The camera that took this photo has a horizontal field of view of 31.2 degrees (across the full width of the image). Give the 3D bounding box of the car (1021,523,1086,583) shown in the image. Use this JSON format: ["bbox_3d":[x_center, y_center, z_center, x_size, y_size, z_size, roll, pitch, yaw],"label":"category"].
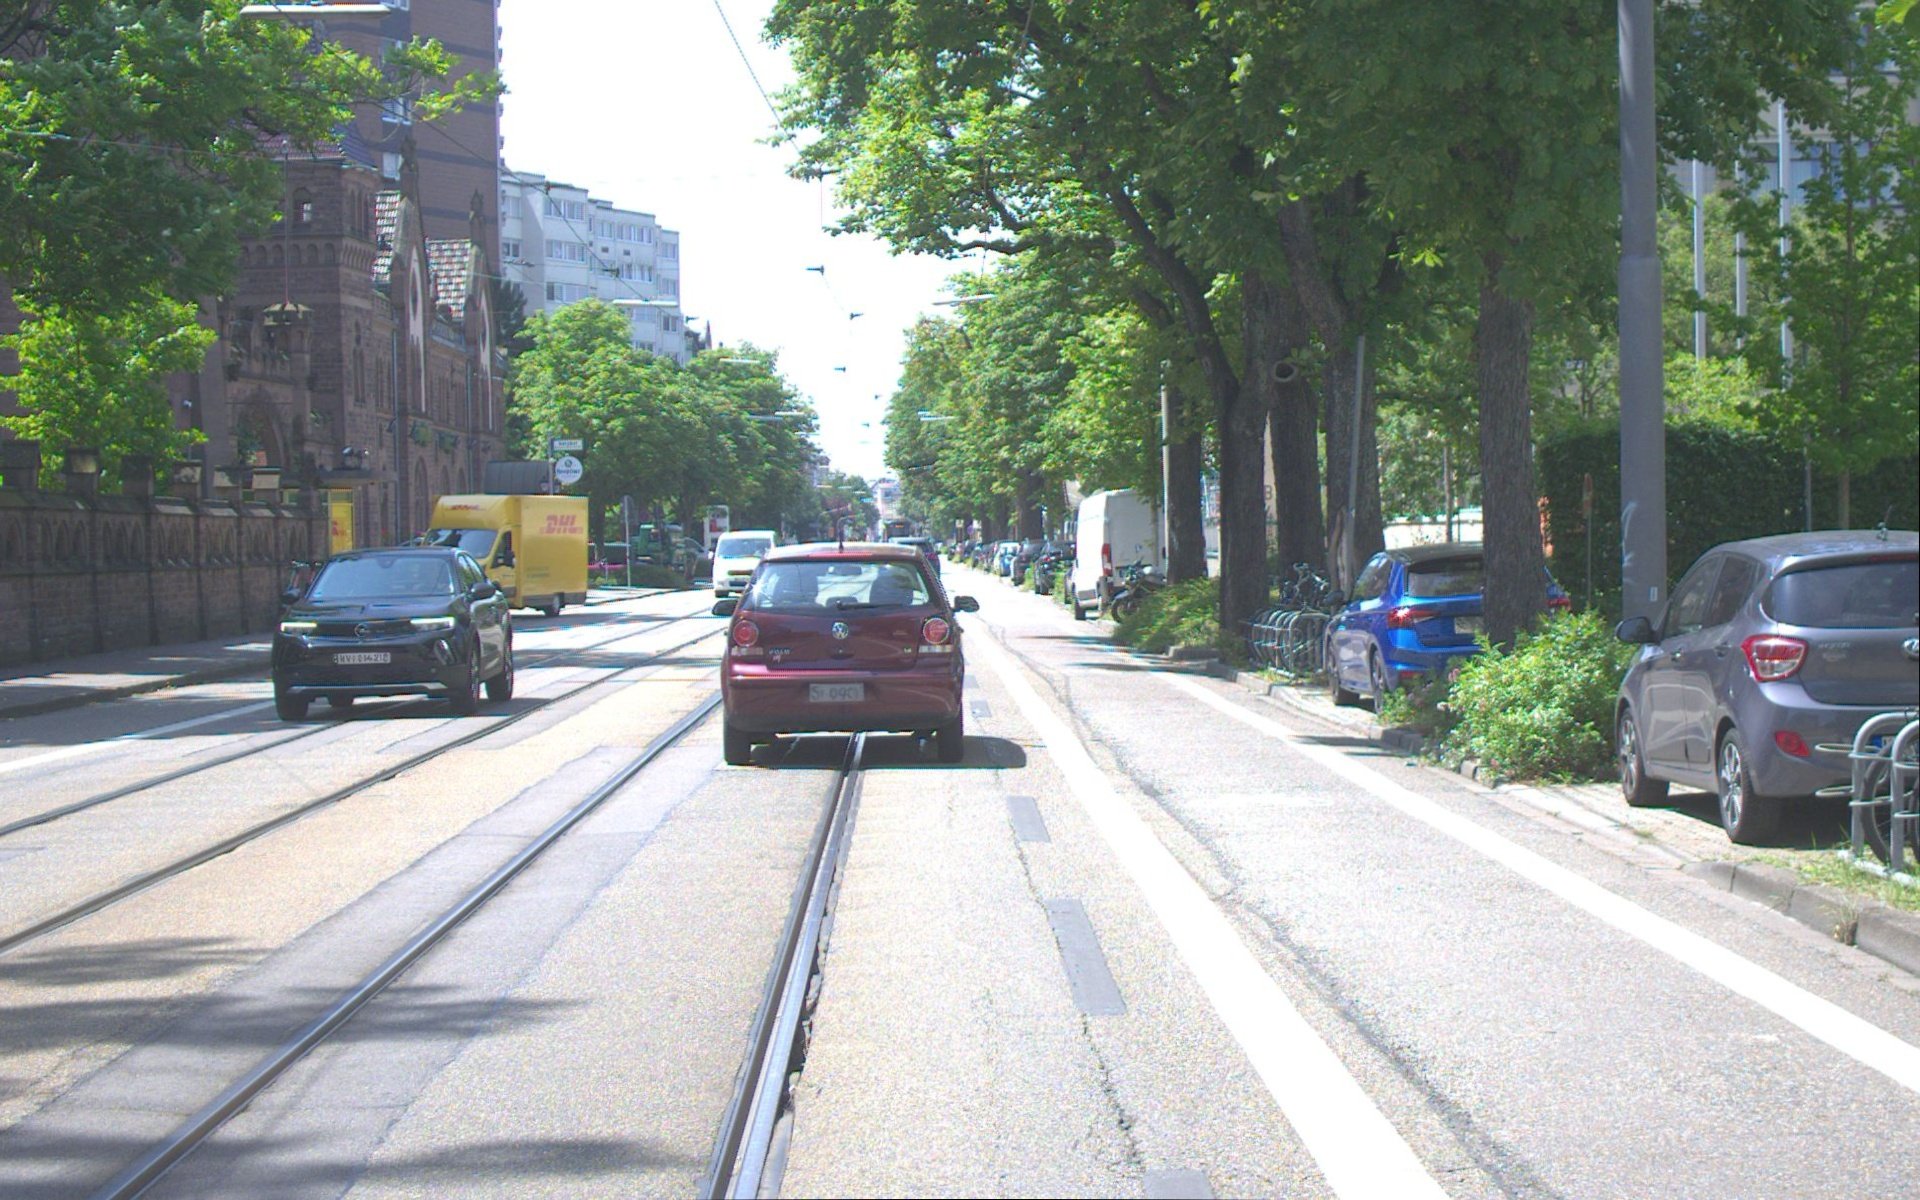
[{"bbox_3d":[2.676,-1.369,98.949,1.674,1.651,4.000,1,1,-1],"label":"car"}]

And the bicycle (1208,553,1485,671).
[{"bbox_3d":[4.444,0.134,39.661,3.069,1.308,0.782,1,1,-2],"label":"bicycle"}]

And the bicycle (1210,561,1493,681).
[{"bbox_3d":[4.405,0.233,38.780,3.069,1.308,0.782,1,1,-2],"label":"bicycle"}]

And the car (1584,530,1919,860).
[{"bbox_3d":[4.495,0.412,18.012,1.688,1.498,3.628,-2,1,-1],"label":"car"}]

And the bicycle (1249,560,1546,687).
[{"bbox_3d":[4.685,0.246,36.940,3.069,1.308,0.782,1,1,-2],"label":"bicycle"}]

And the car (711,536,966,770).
[{"bbox_3d":[-0.830,0.304,24.177,1.619,1.481,4.000,-1,1,-1],"label":"car"}]

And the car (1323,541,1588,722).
[{"bbox_3d":[4.262,0.224,30.091,1.688,1.463,3.880,-1,1,-1],"label":"car"}]

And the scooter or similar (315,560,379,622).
[{"bbox_3d":[-11.613,-0.166,65.121,1.088,1.151,0.527,0,1,-21],"label":"scooter or similar"}]

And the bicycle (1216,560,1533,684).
[{"bbox_3d":[4.540,0.232,37.799,3.367,1.308,0.782,1,1,-2],"label":"bicycle"}]

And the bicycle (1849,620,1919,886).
[{"bbox_3d":[4.690,0.624,14.461,1.751,1.081,0.548,-1,1,-1],"label":"bicycle"}]

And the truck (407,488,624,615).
[{"bbox_3d":[-10.224,-1.142,79.785,2.371,2.777,7.315,-1,1,15],"label":"truck"}]

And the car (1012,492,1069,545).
[{"bbox_3d":[2.614,-2.656,112.075,1.674,1.651,4.000,1,1,-1],"label":"car"}]

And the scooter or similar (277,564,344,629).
[{"bbox_3d":[-11.574,-0.063,61.287,1.088,1.151,0.527,0,1,-21],"label":"scooter or similar"}]

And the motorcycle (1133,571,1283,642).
[{"bbox_3d":[4.304,0.108,59.565,2.555,1.183,0.941,1,1,5],"label":"motorcycle"}]

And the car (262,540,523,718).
[{"bbox_3d":[-5.155,0.217,31.706,1.770,1.510,4.000,-1,1,-1],"label":"car"}]

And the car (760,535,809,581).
[{"bbox_3d":[-6.499,-1.573,127.612,1.674,1.651,4.000,1,1,-1],"label":"car"}]

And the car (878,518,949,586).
[{"bbox_3d":[-1.434,-1.471,104.859,1.993,2.007,4.001,1,1,-3],"label":"car"}]

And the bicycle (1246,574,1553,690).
[{"bbox_3d":[4.556,0.331,35.766,3.069,1.150,0.782,1,1,-2],"label":"bicycle"}]

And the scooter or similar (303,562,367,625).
[{"bbox_3d":[-11.707,-0.122,64.350,1.088,1.151,0.527,0,1,-21],"label":"scooter or similar"}]

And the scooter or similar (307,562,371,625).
[{"bbox_3d":[-11.528,-0.120,63.802,1.088,1.151,0.527,0,1,-21],"label":"scooter or similar"}]

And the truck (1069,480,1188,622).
[{"bbox_3d":[3.272,-0.982,67.573,1.993,2.652,4.875,1,1,-1],"label":"truck"}]

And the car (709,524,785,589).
[{"bbox_3d":[-6.222,-1.283,100.853,1.993,1.848,4.682,-1,1,-1],"label":"car"}]

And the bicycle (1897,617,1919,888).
[{"bbox_3d":[4.723,0.605,13.811,1.751,1.081,0.548,-1,1,-1],"label":"bicycle"}]
